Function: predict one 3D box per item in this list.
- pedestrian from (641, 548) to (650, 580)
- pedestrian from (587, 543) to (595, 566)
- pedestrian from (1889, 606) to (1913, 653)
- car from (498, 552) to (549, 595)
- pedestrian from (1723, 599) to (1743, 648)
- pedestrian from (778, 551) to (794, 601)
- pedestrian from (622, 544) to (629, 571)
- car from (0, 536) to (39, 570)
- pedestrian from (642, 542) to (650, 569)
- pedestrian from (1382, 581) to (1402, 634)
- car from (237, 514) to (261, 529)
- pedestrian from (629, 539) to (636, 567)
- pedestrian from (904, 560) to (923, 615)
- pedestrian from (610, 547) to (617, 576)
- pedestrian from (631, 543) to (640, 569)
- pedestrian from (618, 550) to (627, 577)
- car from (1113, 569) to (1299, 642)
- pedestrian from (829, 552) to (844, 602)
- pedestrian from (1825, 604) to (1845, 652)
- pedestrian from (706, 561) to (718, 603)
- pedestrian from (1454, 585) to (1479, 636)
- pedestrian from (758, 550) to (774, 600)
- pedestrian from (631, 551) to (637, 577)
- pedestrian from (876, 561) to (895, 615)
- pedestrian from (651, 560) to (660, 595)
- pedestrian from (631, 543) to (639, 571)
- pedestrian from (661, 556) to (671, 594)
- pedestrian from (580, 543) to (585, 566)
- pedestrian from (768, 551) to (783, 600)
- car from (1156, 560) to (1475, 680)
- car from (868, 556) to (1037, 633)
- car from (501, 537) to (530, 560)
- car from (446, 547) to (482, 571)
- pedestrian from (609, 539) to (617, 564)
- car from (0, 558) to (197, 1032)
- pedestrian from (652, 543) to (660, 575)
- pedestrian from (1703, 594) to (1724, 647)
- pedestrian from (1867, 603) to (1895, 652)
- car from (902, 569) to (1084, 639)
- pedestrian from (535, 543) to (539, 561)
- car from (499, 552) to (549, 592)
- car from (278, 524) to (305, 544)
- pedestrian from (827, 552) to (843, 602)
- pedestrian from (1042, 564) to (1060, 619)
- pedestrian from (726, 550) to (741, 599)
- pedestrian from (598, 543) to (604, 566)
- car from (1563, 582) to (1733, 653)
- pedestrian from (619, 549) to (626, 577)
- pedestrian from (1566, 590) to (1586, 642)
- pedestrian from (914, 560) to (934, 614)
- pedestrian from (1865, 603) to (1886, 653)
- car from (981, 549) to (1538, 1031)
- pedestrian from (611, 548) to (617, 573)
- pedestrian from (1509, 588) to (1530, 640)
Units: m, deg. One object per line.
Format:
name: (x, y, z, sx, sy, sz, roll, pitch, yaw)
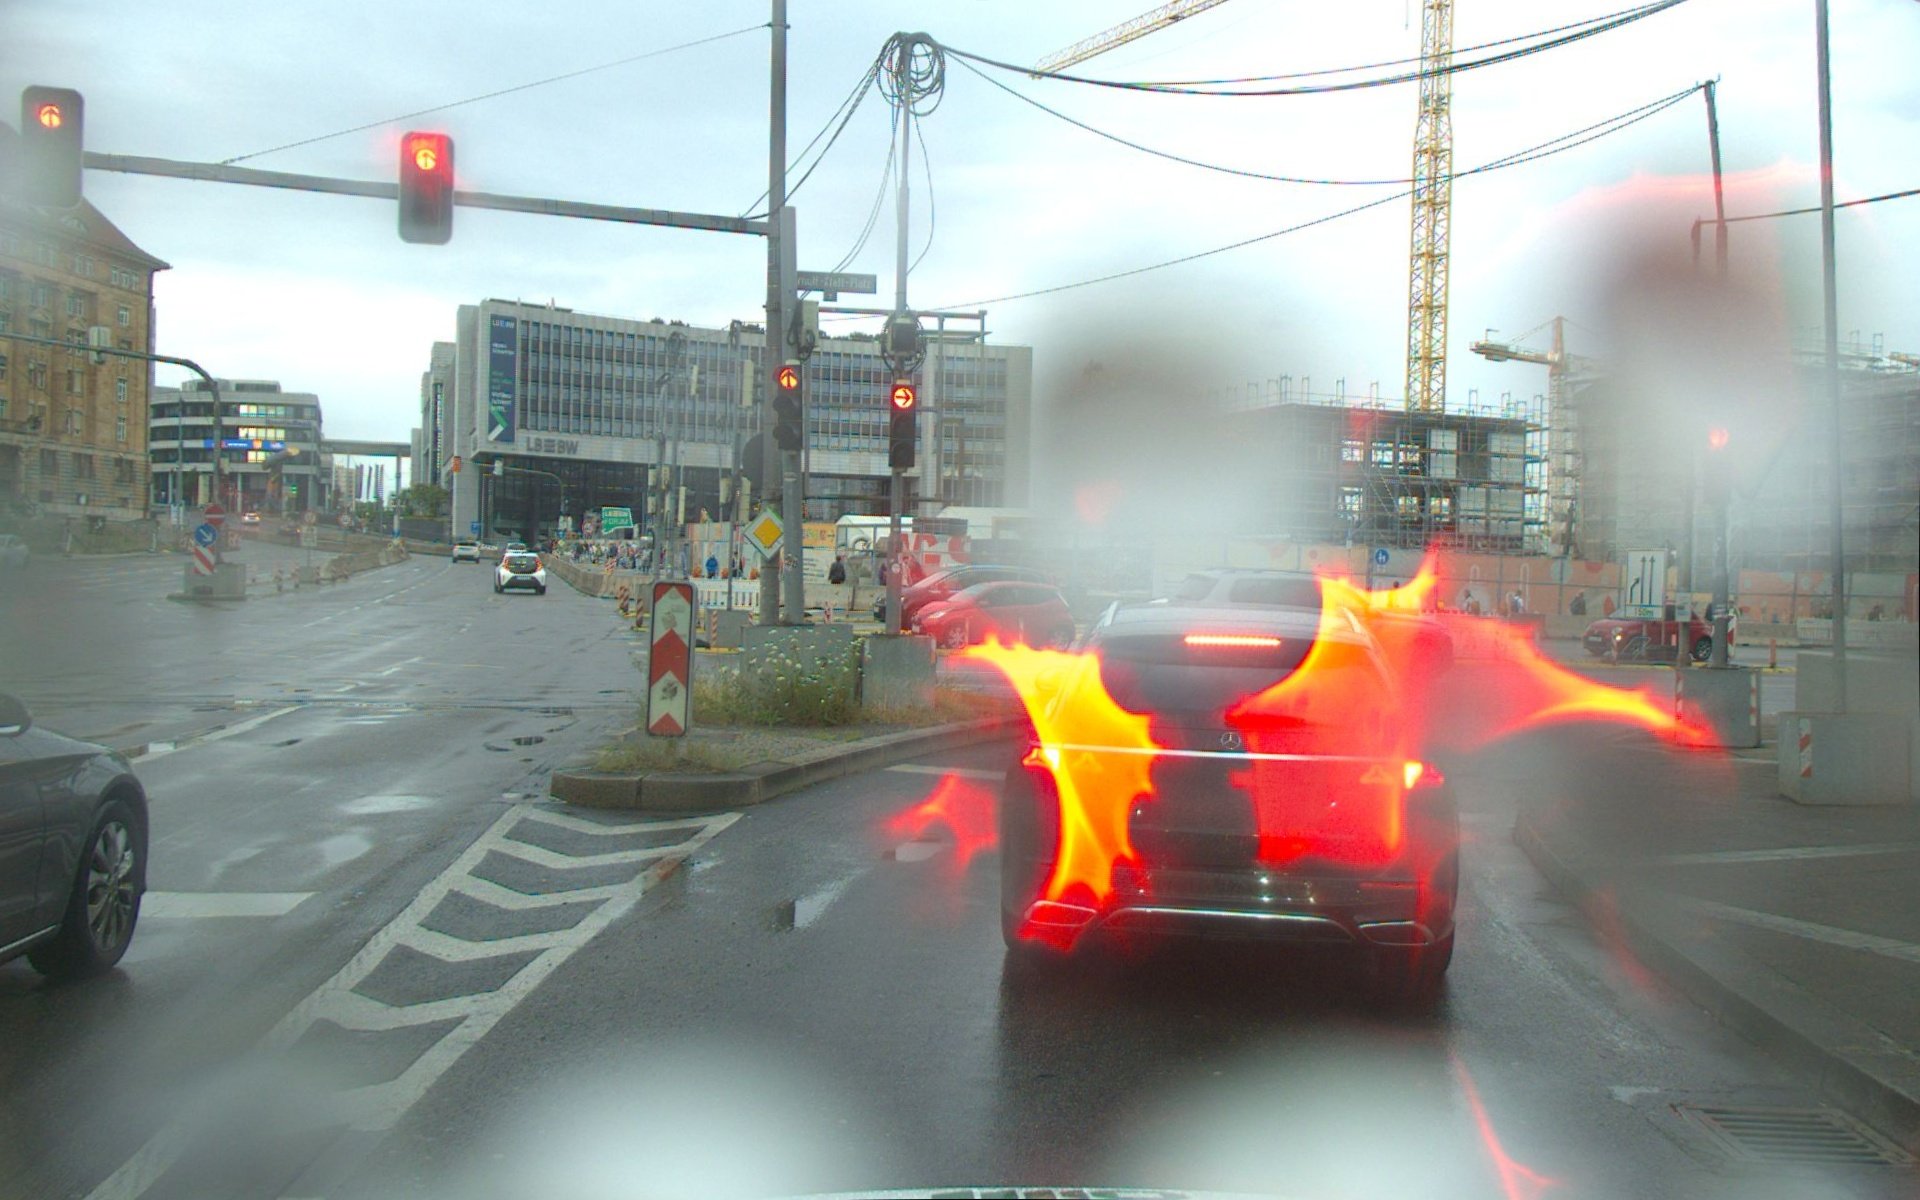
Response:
pedestrian: (-18.885, -2.154, 99.312, 0.355, 1.931, 0.573, 2, -1, -18)
pedestrian: (-31.487, -3.859, 141.181, 0.511, 1.931, 0.573, 2, -1, -18)
pedestrian: (39.238, 1.218, 68.957, 0.621, 1.931, 0.587, 2, -1, -19)
car: (-16.424, -0.978, 62.242, 1.751, 1.499, 3.545, 2, -1, -15)
pedestrian: (30.837, 0.932, 66.003, 0.564, 1.931, 0.361, 2, -1, -12)
pedestrian: (-6.881, -0.951, 65.500, 0.357, 1.931, 0.571, 3, -1, -29)
pedestrian: (-23.760, -3.018, 117.405, 0.355, 1.931, 0.573, 2, -1, -18)
car: (-39.677, -1.960, 68.354, 1.737, 1.282, 3.986, 2, -1, -13)
pedestrian: (-23.562, -3.333, 124.081, 0.511, 1.931, 0.573, 2, -1, -18)
pedestrian: (15.736, 0.278, 60.262, 0.564, 1.931, 0.361, 2, -1, -12)
car: (-94.779, -10.451, 220.311, 1.979, 1.847, 3.946, 3, -1, -38)
pedestrian: (-22.658, -3.255, 114.533, 0.355, 1.931, 0.573, 2, -1, -18)
pedestrian: (-1.657, -0.457, 59.037, 0.562, 1.931, 0.362, 2, -1, 7)
pedestrian: (-23.497, -2.589, 112.229, 0.355, 1.931, 0.573, 2, -1, -18)
pedestrian: (-24.886, -3.352, 126.747, 0.511, 1.931, 0.573, 2, -1, -18)
pedestrian: (-24.904, -2.688, 122.140, 0.511, 1.931, 0.573, 2, -1, -18)
car: (5.940, 0.151, 40.060, 3.981, 1.579, 1.988, 2, -1, -20)
pedestrian: (-4.792, -0.888, 64.034, 0.356, 1.931, 0.572, 2, -1, -22)
pedestrian: (35.696, 1.146, 67.473, 0.565, 1.931, 0.360, 2, -1, -17)
pedestrian: (-11.296, -0.821, 75.386, 0.356, 1.931, 0.572, 2, -1, -22)
pedestrian: (19.558, 0.421, 63.859, 0.645, 1.934, 0.629, 2, -1, -15)
pedestrian: (-7.643, -0.985, 65.157, 0.357, 1.931, 0.571, 3, -1, -30)
pedestrian: (-24.257, -2.703, 123.105, 0.355, 1.931, 0.573, 2, -1, -18)
pedestrian: (-2.719, -0.429, 60.522, 0.562, 1.931, 0.362, 2, -1, 13)
pedestrian: (-17.137, -1.280, 93.197, 0.355, 1.931, 0.573, 2, -1, -18)
pedestrian: (-22.158, -2.924, 112.706, 0.355, 1.931, 0.573, 2, -1, -18)
pedestrian: (-15.220, -1.289, 85.689, 0.355, 1.931, 0.573, 2, -1, -18)
pedestrian: (-32.132, -3.889, 140.742, 0.355, 1.931, 0.573, 2, -1, -18)
pedestrian: (-7.292, -0.953, 65.337, 0.357, 1.931, 0.570, 2, -1, -31)
car: (6.093, 0.356, 28.556, 4.995, 1.829, 1.994, 2, -1, -12)
car: (-0.220, -0.131, 42.580, 3.924, 1.764, 1.991, 2, -1, -17)
car: (-35.386, -4.102, 131.642, 1.704, 1.668, 3.412, 2, 3, -23)
car: (-36.653, -3.007, 122.169, 1.968, 1.668, 3.968, 3, -1, -25)
pedestrian: (-27.524, -3.824, 131.224, 0.511, 1.931, 0.573, 2, -1, -18)
car: (-3.728, 0.601, 4.399, 1.749, 1.427, 4.480, 2, 1, -7)
pedestrian: (-18.207, -2.452, 99.096, 0.355, 1.931, 0.573, 2, -1, -18)
pedestrian: (28.016, 0.767, 61.485, 0.564, 1.931, 0.361, 2, -1, -12)
pedestrian: (36.737, 1.084, 65.987, 0.784, 1.931, 0.564, 2, -1, -16)
car: (0.695, 0.097, 35.057, 3.481, 1.327, 1.656, 2, -1, -20)
pedestrian: (-46.562, -5.254, 181.909, 0.355, 1.931, 0.574, 2, -1, -15)
car: (-21.507, -1.350, 81.480, 1.964, 1.797, 4.392, 2, -1, -20)
car: (-77.425, -7.640, 191.495, 1.977, 2.049, 3.950, 3, -1, -35)
pedestrian: (-4.828, -0.890, 64.039, 0.357, 1.931, 0.571, 3, -1, -27)
pedestrian: (3.285, -0.308, 59.495, 0.563, 1.931, 0.362, 2, -1, 1)
pedestrian: (-9.178, -1.032, 67.033, 0.357, 1.931, 0.571, 3, -1, -27)
pedestrian: (-30.031, -3.802, 138.421, 0.355, 1.931, 0.573, 2, -1, -18)
car: (18.709, 0.487, 44.996, 3.925, 1.738, 1.990, 2, -1, -19)
pedestrian: (-23.305, -2.558, 114.251, 0.355, 1.931, 0.574, 2, -1, -14)
pedestrian: (23.368, 0.611, 62.780, 0.564, 1.931, 0.361, 2, -1, -12)
pedestrian: (-1.321, -0.480, 60.025, 0.563, 1.931, 0.362, 2, -1, 24)
pedestrian: (35.358, 1.079, 63.866, 0.564, 1.931, 0.361, 2, -1, -12)
car: (1.175, 0.672, 7.684, 1.851, 1.571, 3.995, 2, -1, 4)
pedestrian: (-26.911, -3.078, 128.577, 0.355, 1.931, 0.573, 2, -1, -18)
pedestrian: (20.998, 0.511, 62.074, 0.564, 1.931, 0.361, 2, -1, -12)
